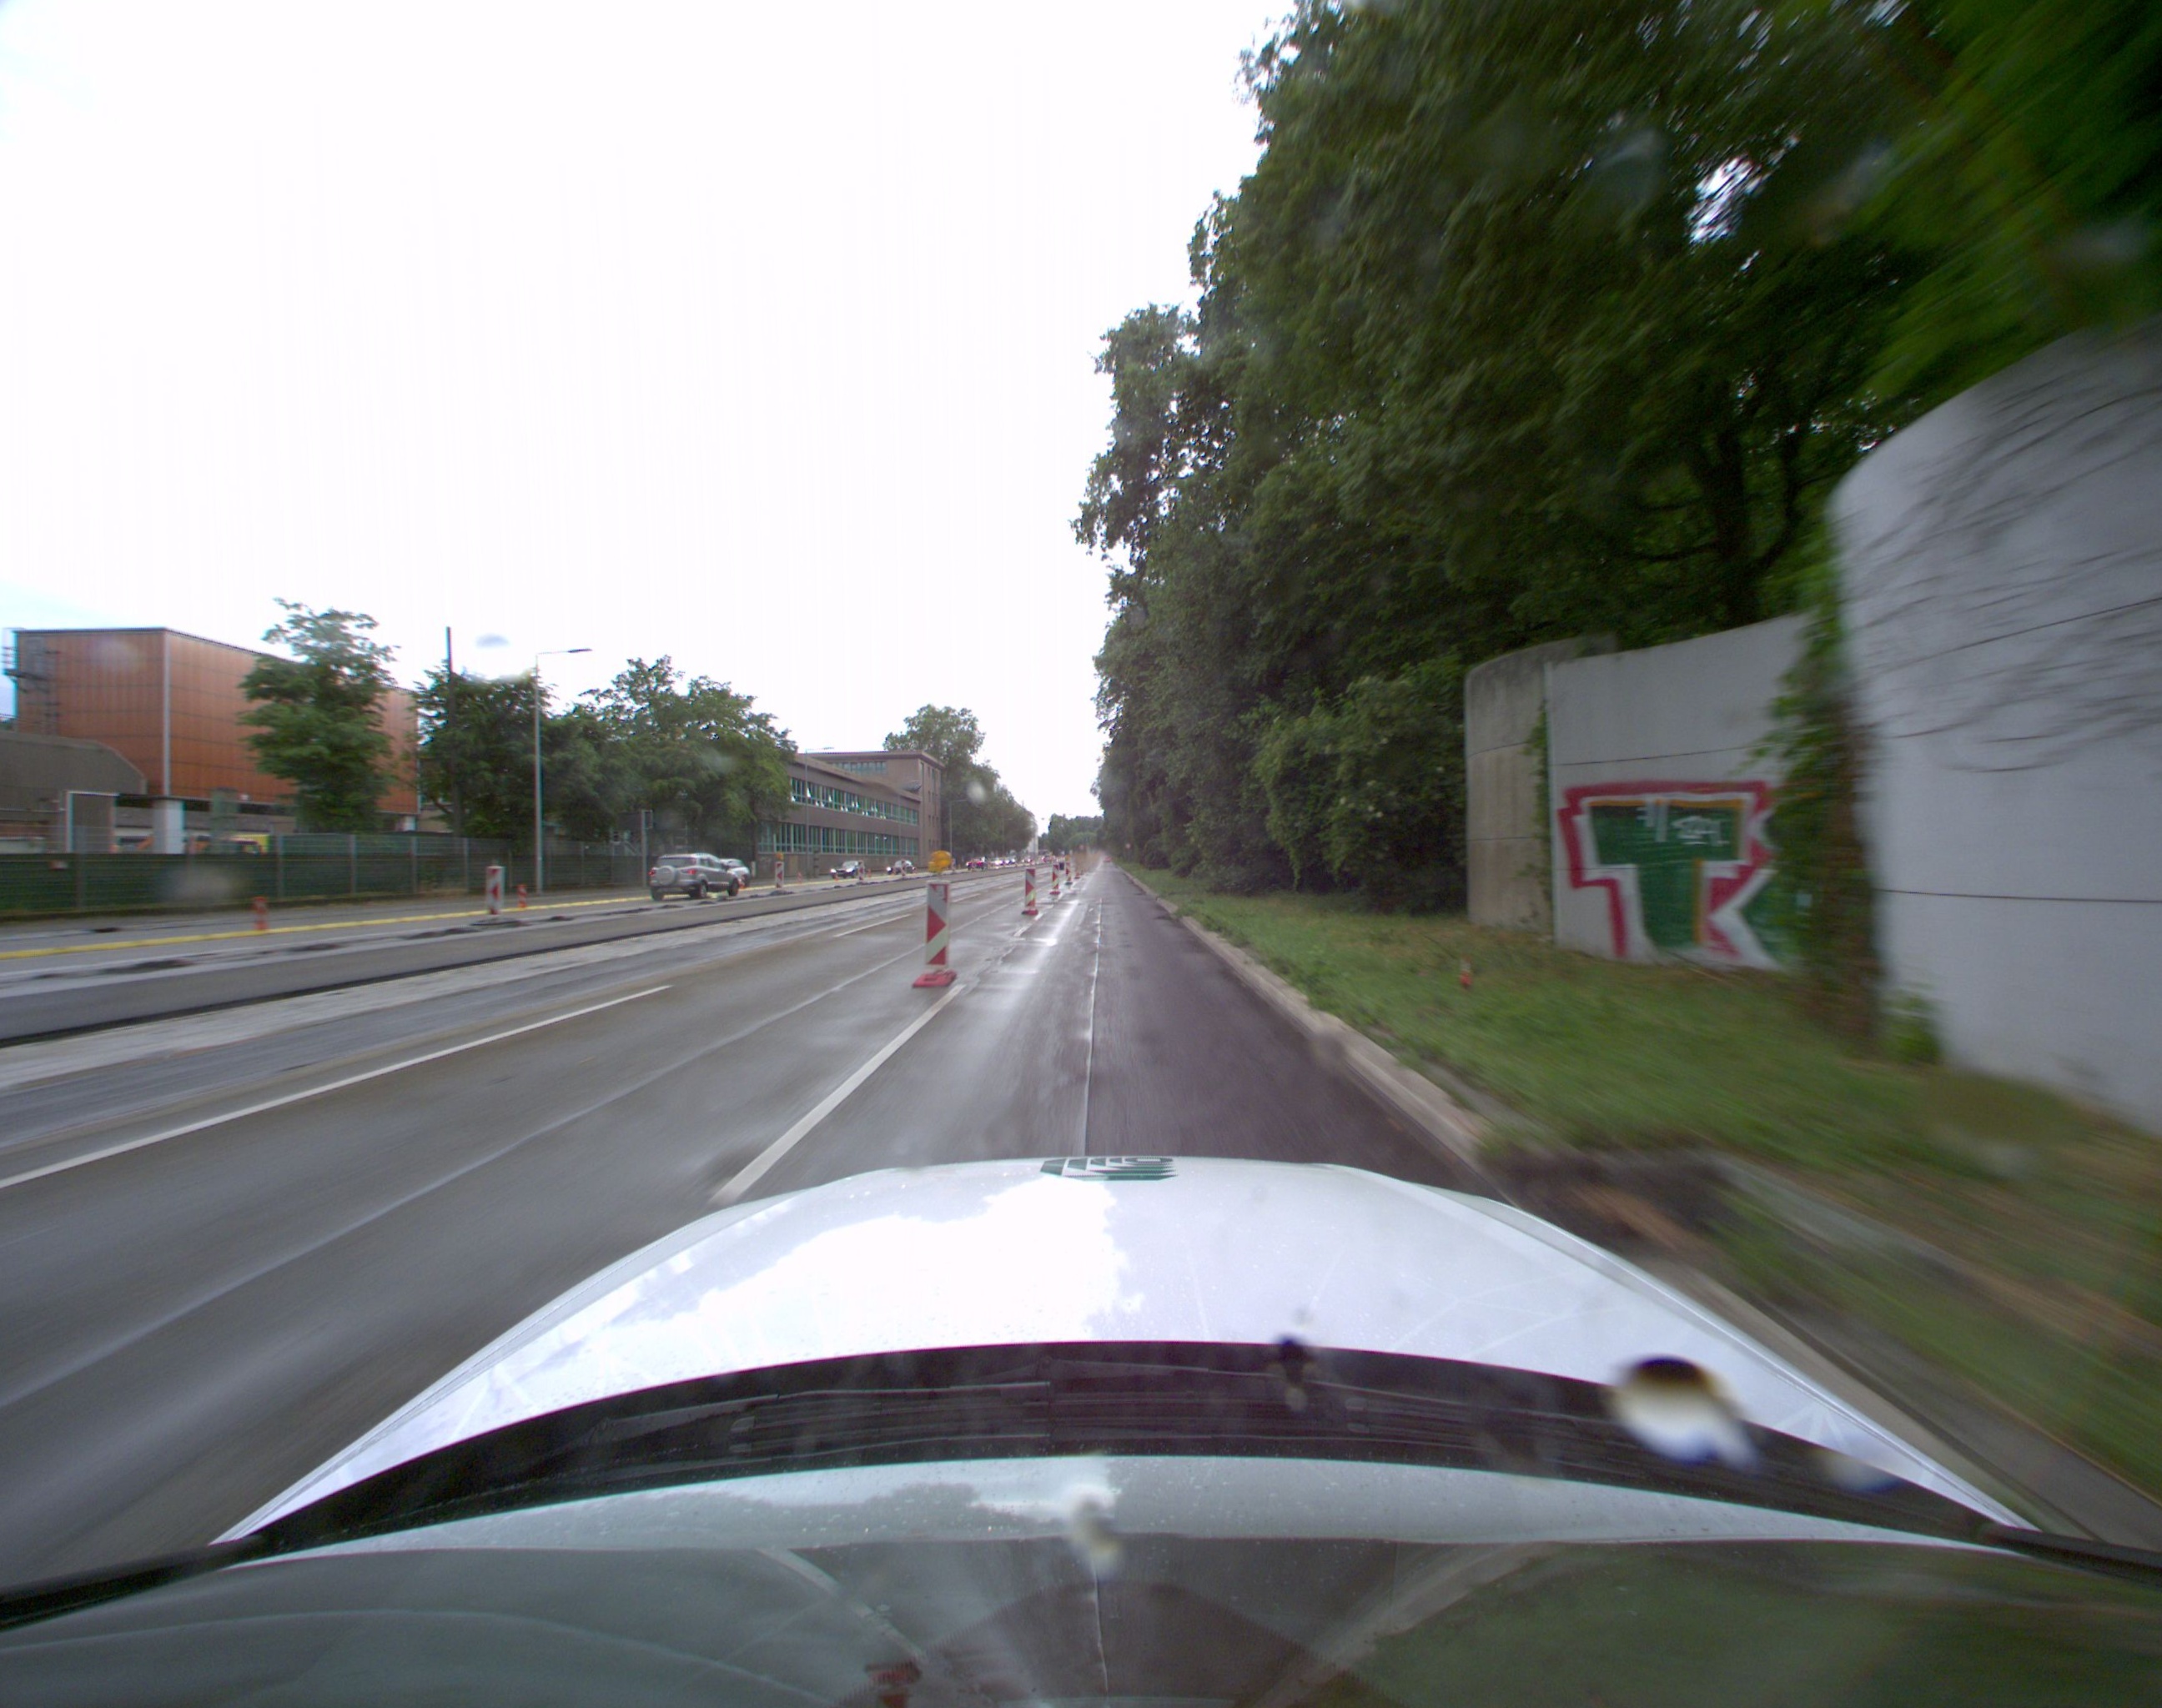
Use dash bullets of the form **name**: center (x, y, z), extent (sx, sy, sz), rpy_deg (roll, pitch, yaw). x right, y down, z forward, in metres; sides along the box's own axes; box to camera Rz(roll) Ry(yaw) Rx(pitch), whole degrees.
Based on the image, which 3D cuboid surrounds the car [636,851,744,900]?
- **car**: center (-13.987, 0.754, 29.415), extent (1.848, 1.648, 4.001), rpy_deg (0, -1, 1)

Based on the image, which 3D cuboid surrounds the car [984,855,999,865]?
- **car**: center (-14.567, 0.981, 132.910), extent (1.797, 1.534, 3.993), rpy_deg (0, -1, 1)

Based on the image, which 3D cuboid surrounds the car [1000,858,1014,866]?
- **car**: center (-13.518, 1.506, 148.728), extent (1.886, 1.502, 4.519), rpy_deg (0, -1, 3)

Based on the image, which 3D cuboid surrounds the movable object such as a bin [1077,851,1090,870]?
- **movable object such as a bin**: center (0.453, 1.165, 143.168), extent (1.986, 3.367, 5.984), rpy_deg (0, -1, 2)

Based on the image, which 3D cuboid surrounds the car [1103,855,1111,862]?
- **car**: center (6.389, 1.166, 202.355), extent (1.986, 1.673, 4.002), rpy_deg (0, -1, 2)

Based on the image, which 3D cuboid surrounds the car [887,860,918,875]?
- **car**: center (-18.081, 1.316, 82.730), extent (2.038, 1.454, 4.766), rpy_deg (0, -1, 2)

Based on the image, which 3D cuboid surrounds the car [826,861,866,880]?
- **car**: center (-19.046, 1.312, 66.239), extent (1.987, 1.429, 4.265), rpy_deg (0, 0, 0)

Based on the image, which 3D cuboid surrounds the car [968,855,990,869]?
- **car**: center (-11.892, 0.951, 95.355), extent (1.986, 1.519, 4.001), rpy_deg (0, -1, 1)

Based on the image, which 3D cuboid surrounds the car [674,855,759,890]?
- **car**: center (-17.197, 0.837, 38.650), extent (1.986, 1.513, 4.268), rpy_deg (0, 0, 2)
